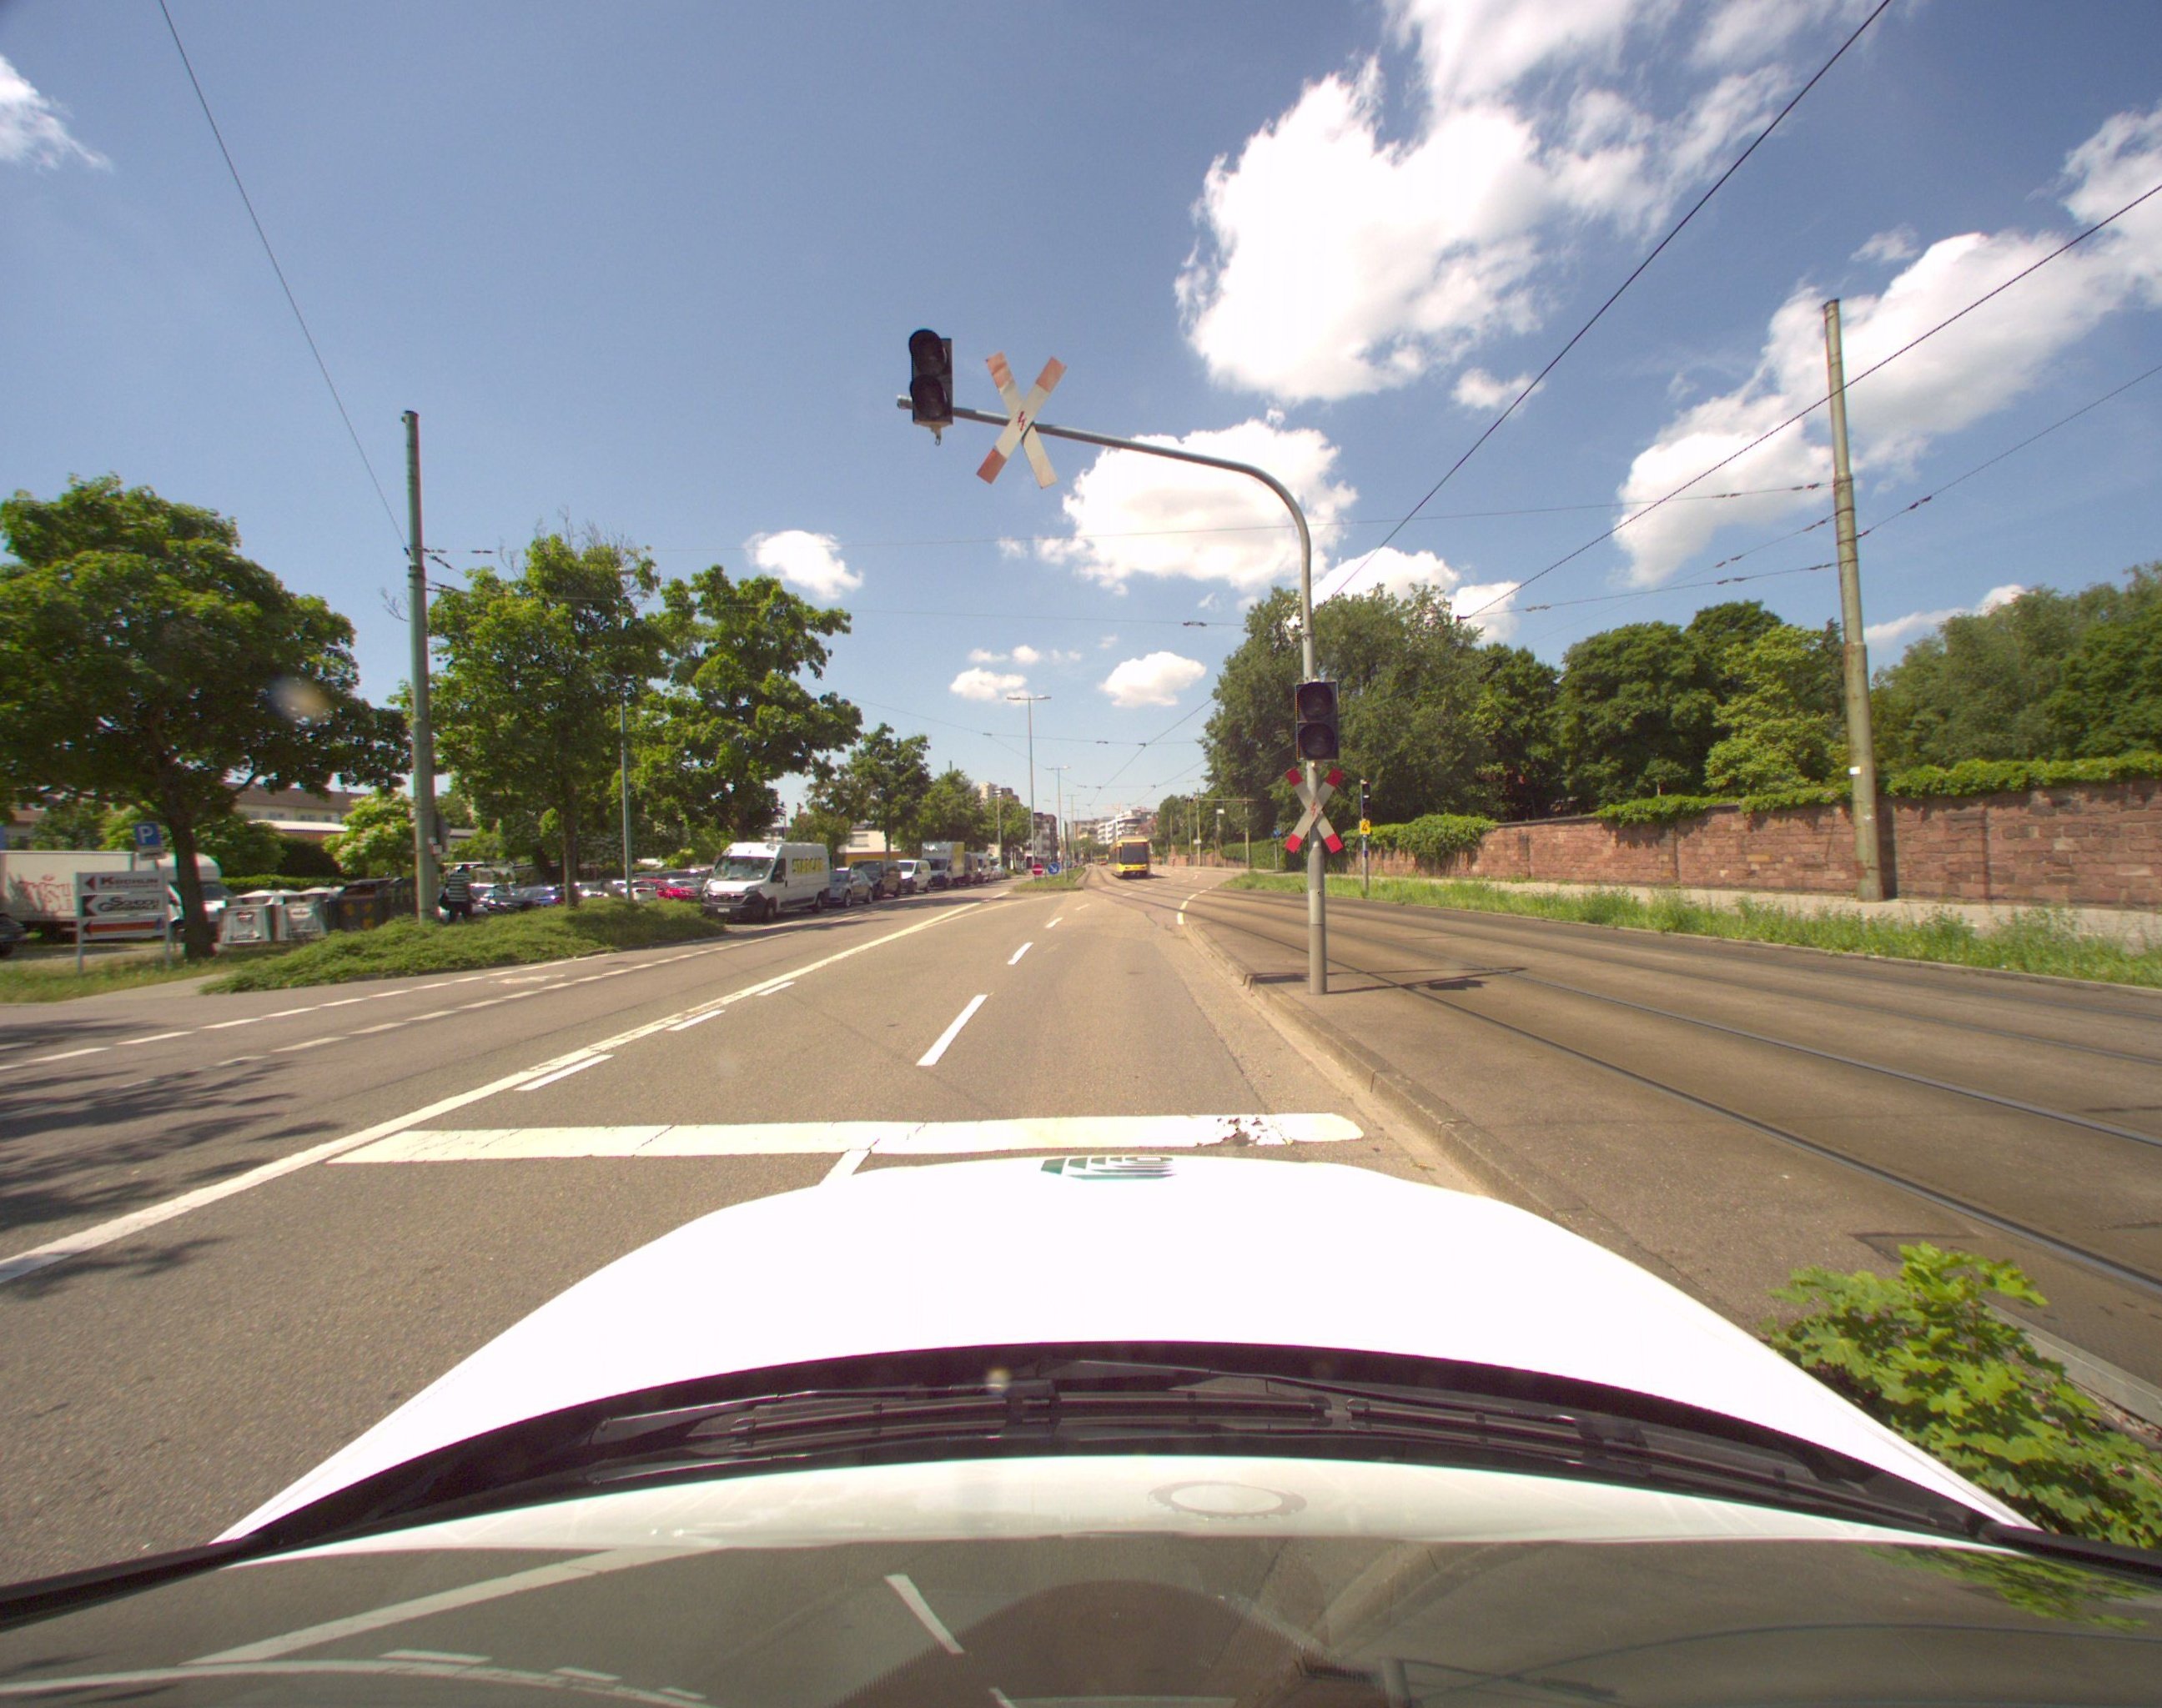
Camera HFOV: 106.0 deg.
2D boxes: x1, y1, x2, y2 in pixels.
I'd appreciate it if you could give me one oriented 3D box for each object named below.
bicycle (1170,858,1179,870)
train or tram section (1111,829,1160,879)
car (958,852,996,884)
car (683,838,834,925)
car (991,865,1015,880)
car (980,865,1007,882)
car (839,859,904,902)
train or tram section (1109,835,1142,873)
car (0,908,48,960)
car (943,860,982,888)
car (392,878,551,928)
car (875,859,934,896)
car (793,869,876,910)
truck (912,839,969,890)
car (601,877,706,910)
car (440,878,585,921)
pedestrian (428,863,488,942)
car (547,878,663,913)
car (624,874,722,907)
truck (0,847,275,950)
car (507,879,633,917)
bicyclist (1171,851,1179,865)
[{"bbox_3d":[14.739,1.586,128.151,1.088,1.908,3.683,-2,0,2],"label":"bicycle"},{"bbox_3d":[4.404,0.013,69.938,2.934,3.692,18.385,-1,0,0],"label":"train or tram section"},{"bbox_3d":[-8.938,1.153,70.465,2.148,2.639,5.616,1,0,3],"label":"car"},{"bbox_3d":[-10.332,0.814,26.803,2.148,2.487,6.198,1,0,3],"label":"car"},{"bbox_3d":[-8.701,2.029,91.199,2.053,1.582,4.872,-2,0,2],"label":"car"},{"bbox_3d":[-8.919,1.931,83.573,2.053,1.582,4.872,-2,0,2],"label":"car"},{"bbox_3d":[-10.089,1.247,39.524,1.862,1.895,4.272,-2,0,2],"label":"car"},{"bbox_3d":[4.622,0.022,89.230,2.933,3.692,20.288,-1,0,1],"label":"train or tram section"},{"bbox_3d":[-32.366,2.361,23.009,3.975,1.399,1.772,-2,-1,-1],"label":"car"},{"bbox_3d":[-8.996,1.462,62.413,2.053,1.977,4.872,-2,0,2],"label":"car"},{"bbox_3d":[-20.587,1.632,27.628,3.974,1.442,1.805,-2,0,-1],"label":"car"},{"bbox_3d":[-9.917,1.281,46.188,2.053,1.898,4.872,-2,0,2],"label":"car"},{"bbox_3d":[-9.903,1.381,33.060,1.862,1.437,4.344,-2,0,2],"label":"car"},{"bbox_3d":[-9.367,0.686,54.952,2.148,3.210,7.088,1,0,3],"label":"truck"},{"bbox_3d":[-20.261,1.851,38.732,3.974,1.339,1.805,-2,0,-1],"label":"car"},{"bbox_3d":[-20.886,1.656,30.041,3.974,1.339,1.805,-2,0,-1],"label":"car"},{"bbox_3d":[-15.073,1.159,19.728,0.980,1.823,0.787,-2,-1,-28],"label":"pedestrian"},{"bbox_3d":[-21.060,1.824,36.140,3.974,1.339,1.805,-2,0,-1],"label":"car"},{"bbox_3d":[-20.634,1.838,41.282,3.974,1.442,1.805,-2,0,0],"label":"car"},{"bbox_3d":[-33.371,1.521,28.794,7.167,3.228,2.331,-2,-1,-2],"label":"truck"},{"bbox_3d":[-20.951,1.795,33.502,3.974,1.339,1.805,-2,0,-1],"label":"car"},{"bbox_3d":[14.731,0.605,128.110,1.092,2.108,1.031,-1,-1,1],"label":"bicyclist"}]
